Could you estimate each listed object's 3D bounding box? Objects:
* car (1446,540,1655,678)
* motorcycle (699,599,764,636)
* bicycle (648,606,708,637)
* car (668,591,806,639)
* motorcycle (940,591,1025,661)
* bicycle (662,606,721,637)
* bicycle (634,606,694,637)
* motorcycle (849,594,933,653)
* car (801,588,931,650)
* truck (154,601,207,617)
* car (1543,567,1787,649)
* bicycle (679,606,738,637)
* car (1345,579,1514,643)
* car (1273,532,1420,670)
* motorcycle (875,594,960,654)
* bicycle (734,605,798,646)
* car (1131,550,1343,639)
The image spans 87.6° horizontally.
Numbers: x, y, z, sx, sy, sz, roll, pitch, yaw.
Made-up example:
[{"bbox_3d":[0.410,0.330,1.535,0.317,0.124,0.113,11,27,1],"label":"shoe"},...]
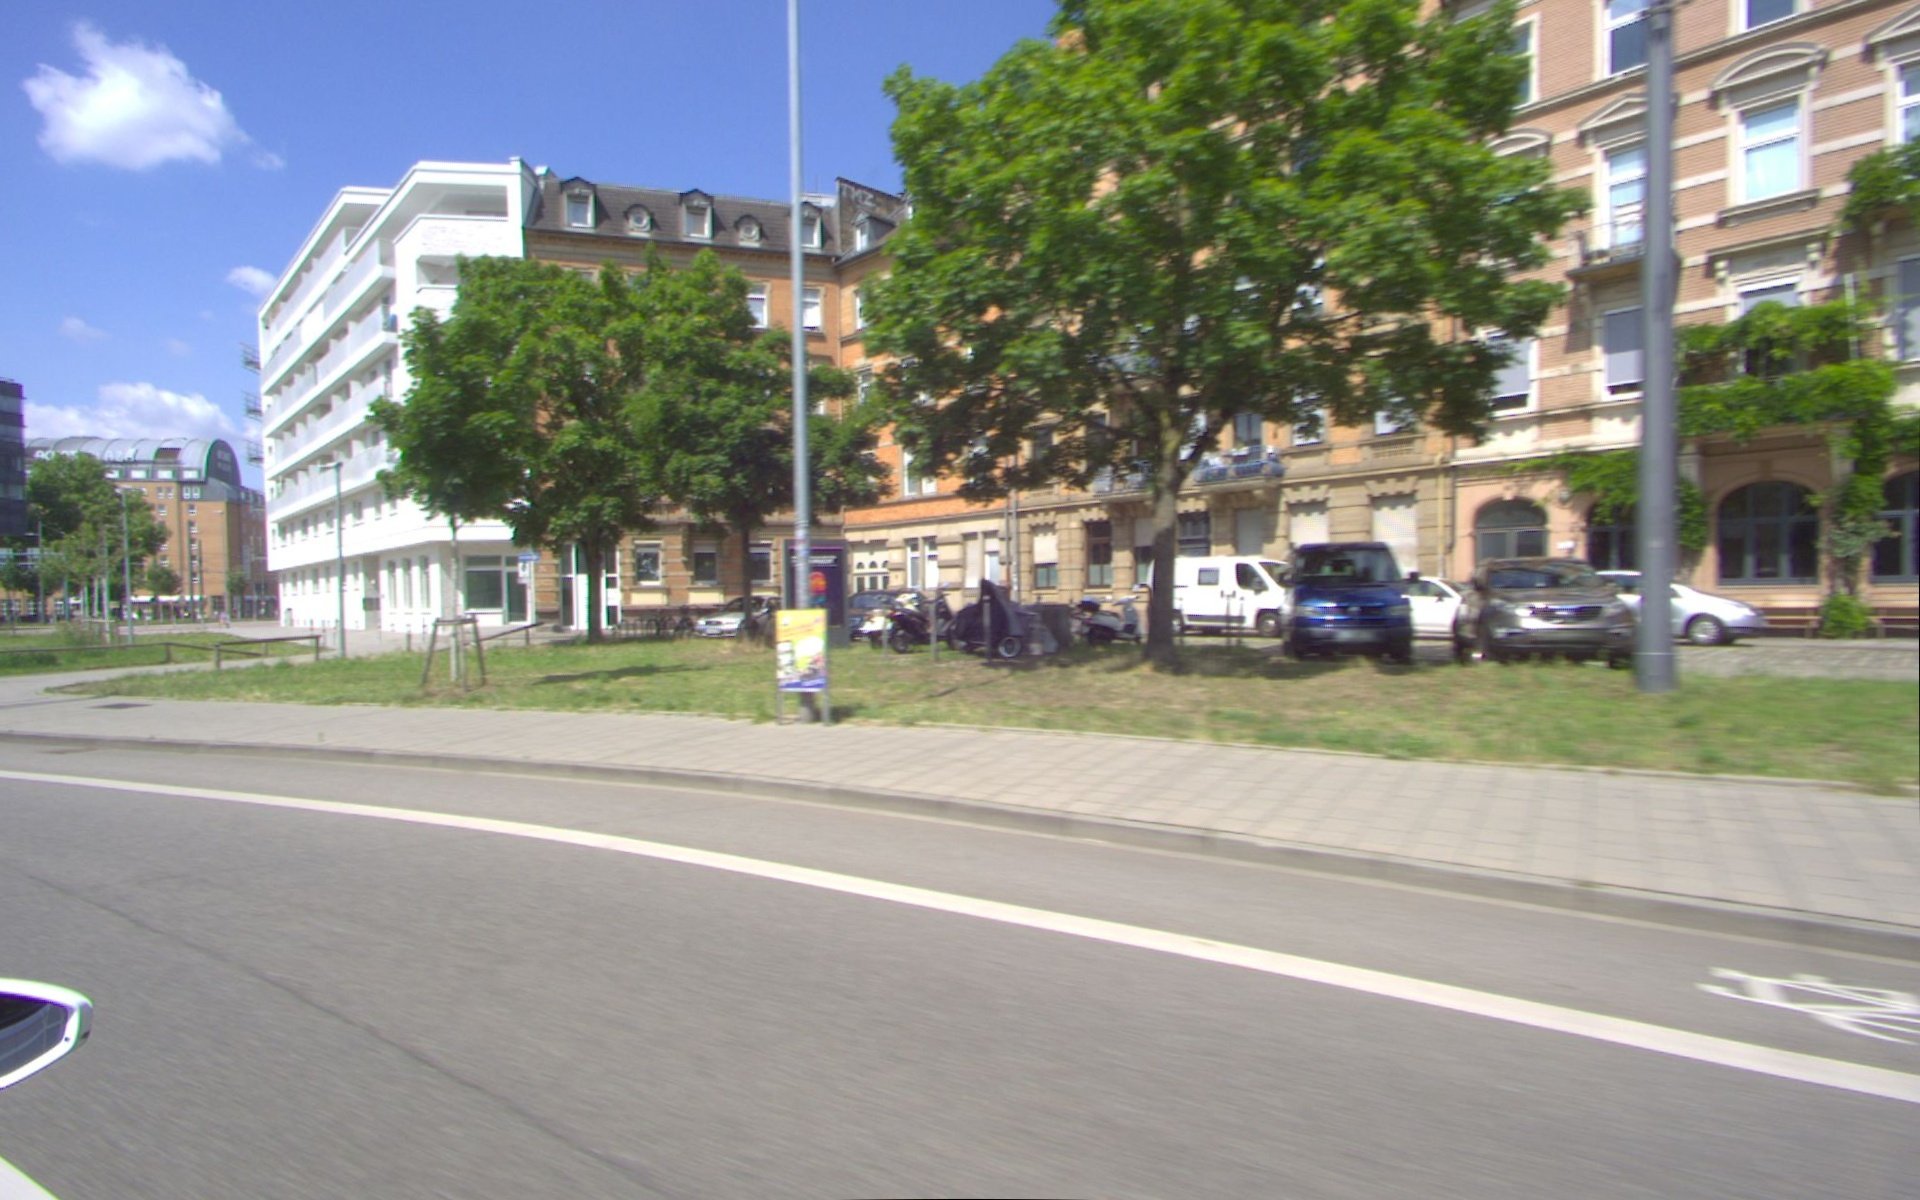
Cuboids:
[{"bbox_3d":[8.323,0.151,14.516,1.883,1.678,4.166,0,-1,20],"label":"car"},{"bbox_3d":[-7.295,0.549,32.082,0.799,1.140,2.385,0,-1,23],"label":"motorcycle"},{"bbox_3d":[-9.300,0.701,33.093,0.535,0.982,2.385,0,-1,23],"label":"bicycle"},{"bbox_3d":[-6.320,0.441,28.845,1.832,1.260,4.154,-1,-1,23],"label":"car"},{"bbox_3d":[0.375,0.447,18.040,0.631,1.182,1.896,-1,0,-30],"label":"motorcycle"},{"bbox_3d":[-8.775,0.694,32.851,0.535,0.982,2.385,0,-1,23],"label":"bicycle"},{"bbox_3d":[-9.818,0.707,33.313,0.535,0.982,2.385,0,-1,23],"label":"bicycle"},{"bbox_3d":[-1.440,0.477,21.117,1.771,1.182,0.633,-1,1,-45],"label":"motorcycle"},{"bbox_3d":[-2.284,0.436,25.473,1.773,1.446,4.252,-1,0,18],"label":"car"},{"bbox_3d":[-102.999,1.225,132.360,5.415,2.113,2.000,0,0,1],"label":"truck"},{"bbox_3d":[14.283,0.183,20.432,1.647,1.511,3.818,0,-1,-42],"label":"car"},{"bbox_3d":[-8.152,0.693,32.566,0.535,0.968,2.385,0,-1,23],"label":"bicycle"},{"bbox_3d":[11.095,0.250,23.798,1.551,1.421,3.322,-1,0,-40],"label":"car"},{"bbox_3d":[6.228,0.059,16.611,1.882,1.952,4.624,0,-1,16],"label":"car"},{"bbox_3d":[-0.853,0.469,20.489,1.771,1.182,0.633,-1,1,-45],"label":"motorcycle"},{"bbox_3d":[-4.568,0.594,23.460,1.802,0.913,0.539,-1,-1,44],"label":"bicycle"},{"bbox_3d":[7.465,-0.094,27.468,2.096,2.207,5.344,0,-1,-42],"label":"car"}]
